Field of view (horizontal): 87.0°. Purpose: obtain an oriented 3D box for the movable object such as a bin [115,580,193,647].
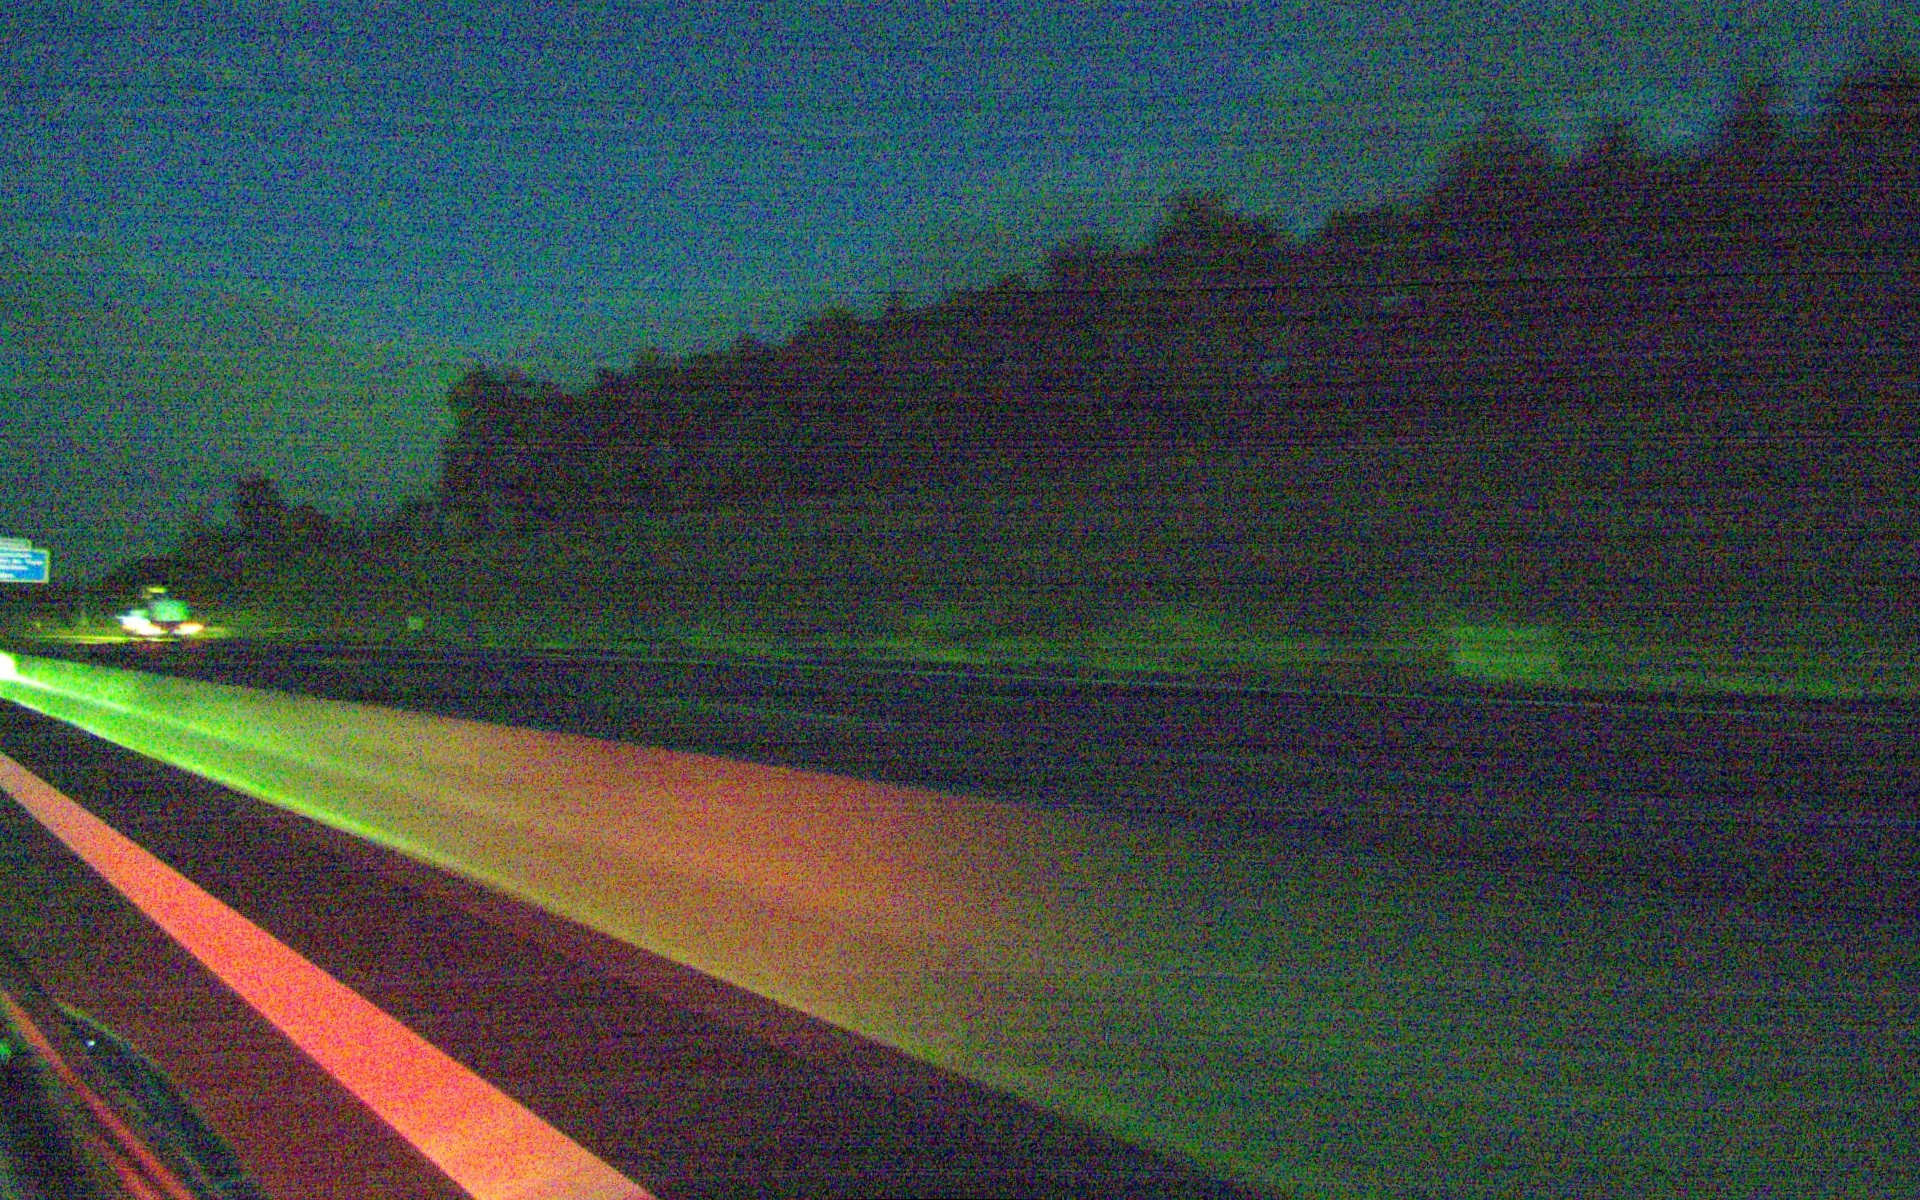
[{"bbox_3d":[-48.717,0.851,61.076,7.680,3.798,2.270,-1,-1,40],"label":"movable object such as a bin"}]
